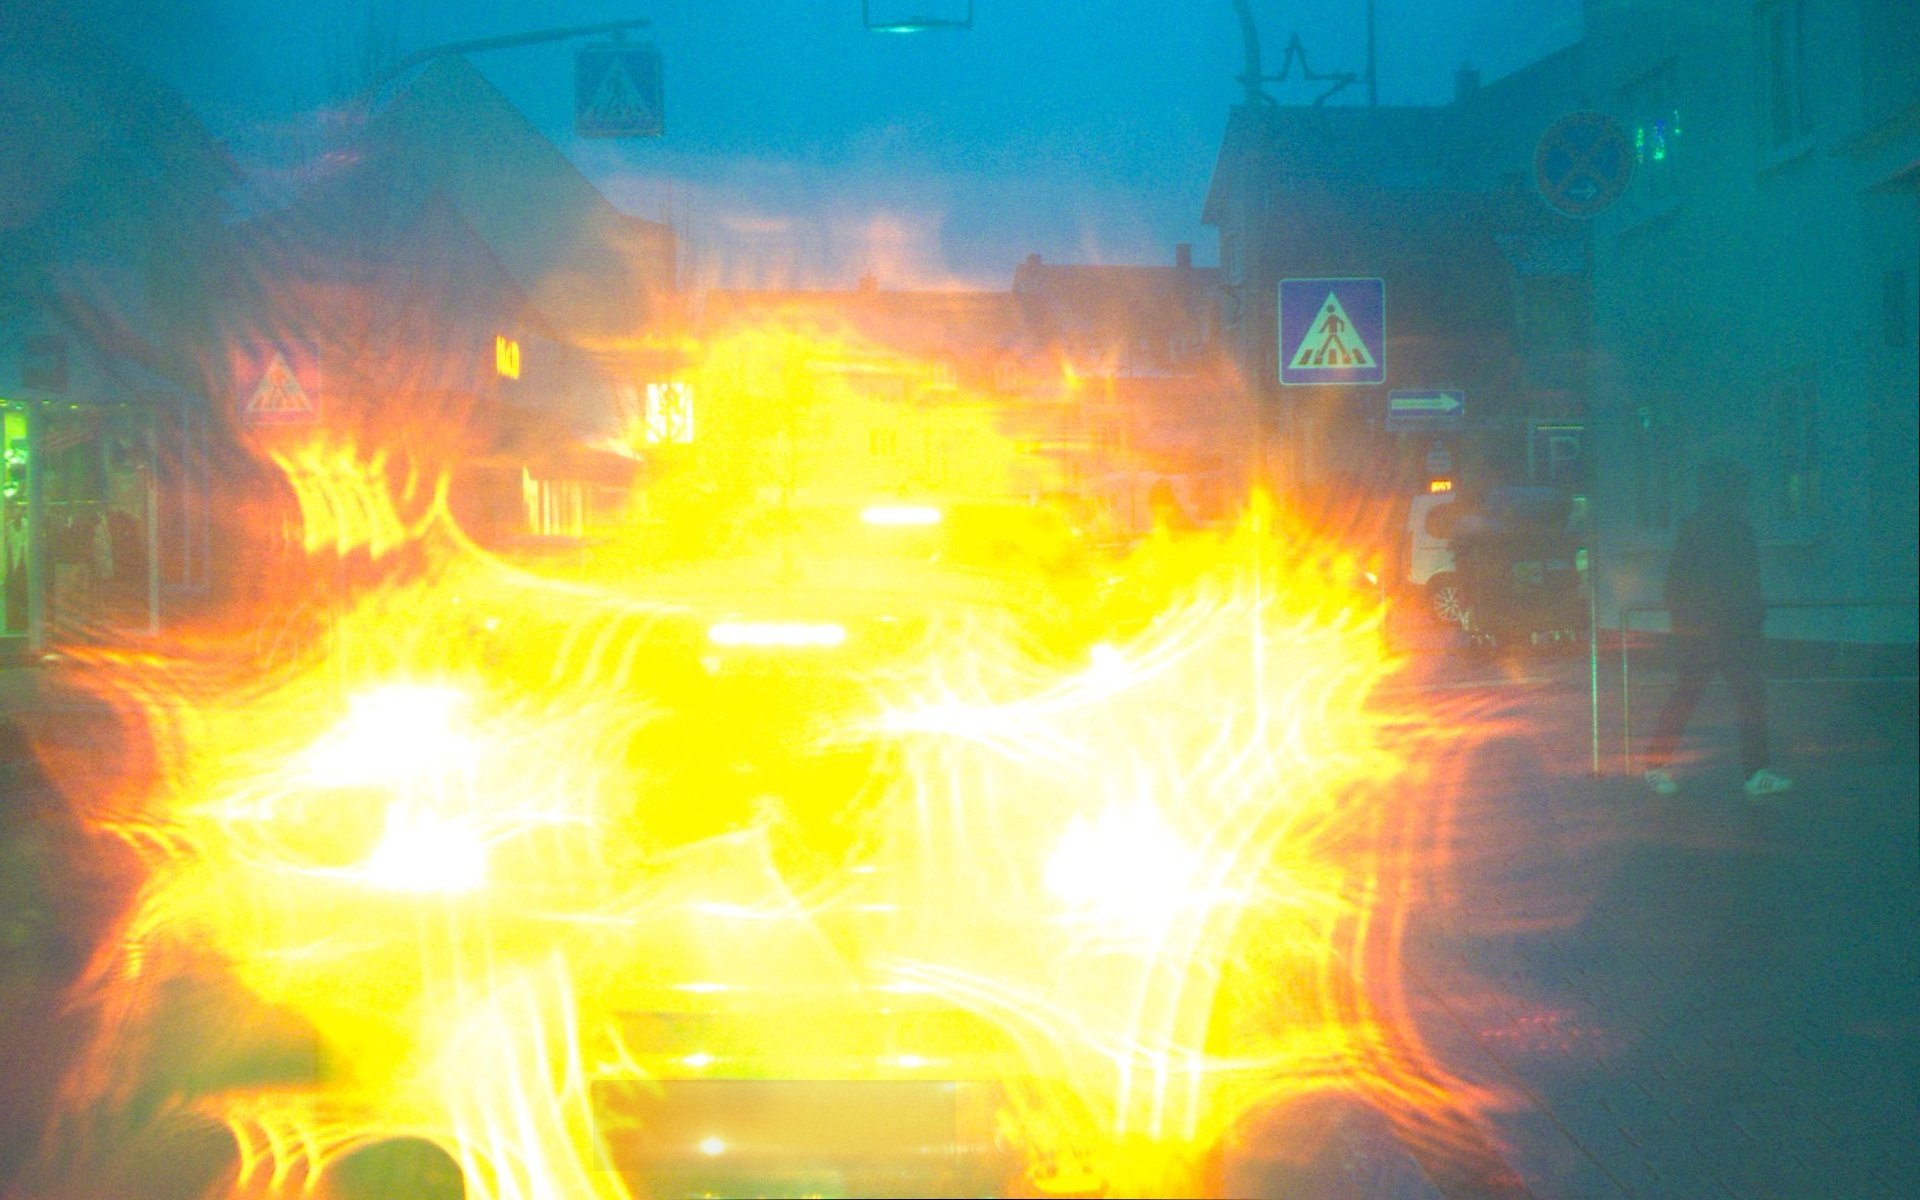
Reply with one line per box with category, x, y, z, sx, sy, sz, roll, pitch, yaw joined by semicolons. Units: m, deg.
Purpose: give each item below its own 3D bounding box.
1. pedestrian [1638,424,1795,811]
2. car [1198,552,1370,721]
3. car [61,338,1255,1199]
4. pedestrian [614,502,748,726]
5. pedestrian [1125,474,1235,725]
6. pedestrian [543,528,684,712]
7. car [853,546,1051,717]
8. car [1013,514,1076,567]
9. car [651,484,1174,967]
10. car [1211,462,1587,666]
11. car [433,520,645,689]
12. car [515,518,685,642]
pedestrian;3.777;0.082;17.216;0.663;1.881;0.824;1;0;7
car;4.188;0.428;44.902;1.641;2.007;4.001;-2;1;-3
car;-0.399;0.399;8.075;1.994;1.789;4.648;0;2;3
pedestrian;-2.222;0.099;27.508;0.973;1.736;0.961;1;2;0
pedestrian;1.663;-0.015;26.057;0.703;1.870;0.617;1;2;-6
pedestrian;-2.851;0.159;28.349;0.890;1.413;0.776;6;0;4
car;-0.015;0.263;34.701;1.827;1.596;4.581;0;1;2
car;2.323;-1.645;93.876;1.534;1.241;3.647;-5;2;3
car;-0.124;0.411;13.910;1.798;1.656;4.000;0;1;1
car;4.460;-0.375;35.346;3.697;2.007;1.689;1;0;4
car;-5.220;0.015;43.179;1.993;2.007;4.361;0;1;2
car;-5.232;-0.316;50.492;1.993;1.746;4.361;0;1;1
